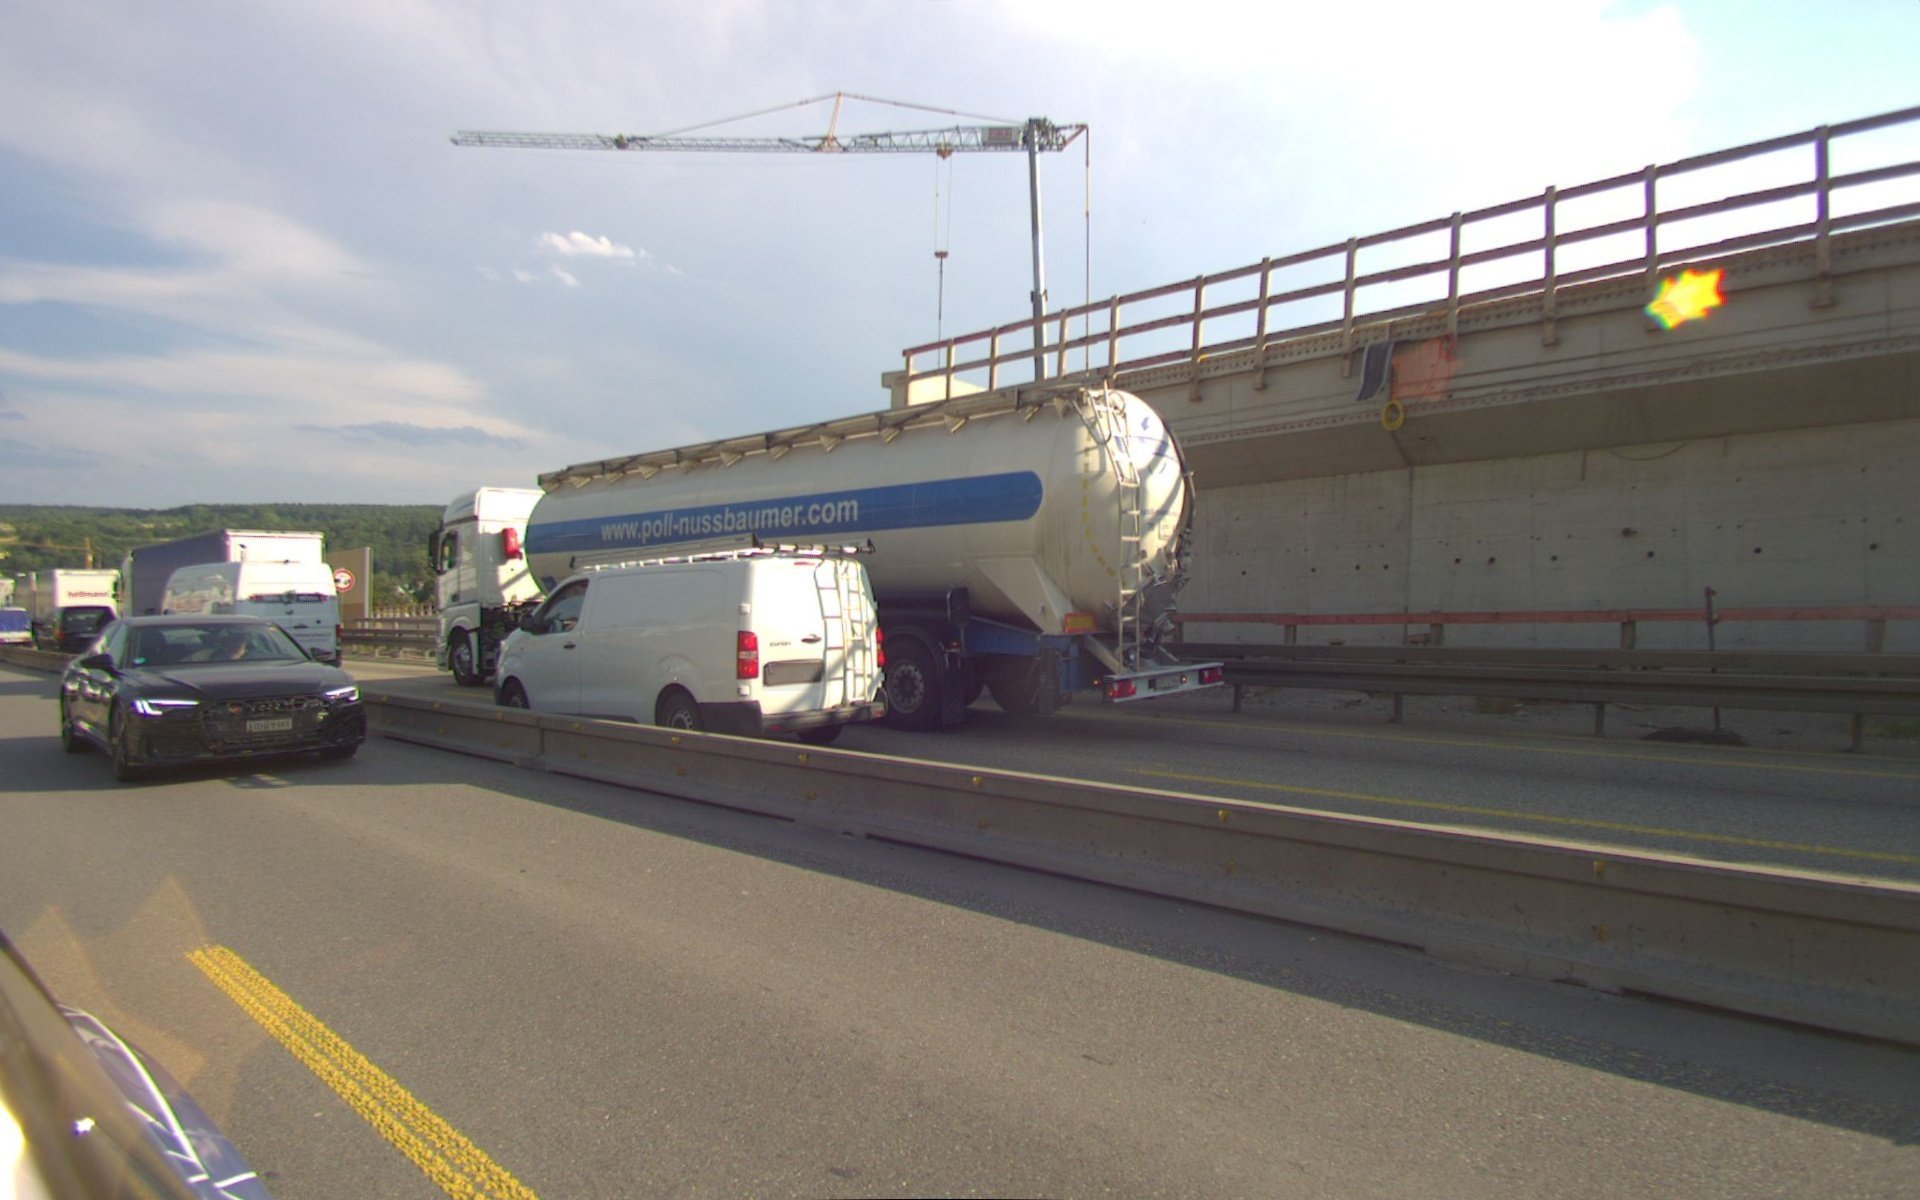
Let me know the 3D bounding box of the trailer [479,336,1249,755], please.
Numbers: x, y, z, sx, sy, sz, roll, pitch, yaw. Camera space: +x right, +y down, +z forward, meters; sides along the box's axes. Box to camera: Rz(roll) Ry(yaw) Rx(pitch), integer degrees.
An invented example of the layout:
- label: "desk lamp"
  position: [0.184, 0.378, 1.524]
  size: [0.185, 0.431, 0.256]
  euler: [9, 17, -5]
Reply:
- label: "trailer"
  position: [-2.705, -0.422, 14.784]
  size: [13.436, 3.879, 2.625]
  euler: [-1, 0, 41]

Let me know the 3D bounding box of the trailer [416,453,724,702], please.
- label: "trailer"
  position: [-7.445, -0.326, 18.902]
  size: [6.426, 3.879, 2.625]
  euler: [-1, 0, 41]

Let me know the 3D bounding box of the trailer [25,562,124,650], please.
- label: "trailer"
  position: [-47.012, 0.333, 53.622]
  size: [8.731, 4.315, 2.798]
  euler: [-1, 0, 41]

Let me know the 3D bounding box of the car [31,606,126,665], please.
- label: "car"
  position: [-30.076, 1.176, 34.480]
  size: [4.850, 1.857, 1.762]
  euler: [-1, 0, 41]

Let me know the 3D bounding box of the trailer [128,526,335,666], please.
- label: "trailer"
  position: [-25.652, -0.026, 35.120]
  size: [13.769, 4.067, 2.894]
  euler: [-1, 0, 42]

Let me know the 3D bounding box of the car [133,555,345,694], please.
- label: "car"
  position: [-16.098, 0.510, 22.357]
  size: [7.403, 2.642, 1.974]
  euler: [-1, 0, 40]

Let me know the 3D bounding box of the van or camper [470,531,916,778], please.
- label: "van or camper"
  position: [-3.052, 0.477, 10.733]
  size: [5.291, 2.029, 1.839]
  euler: [-1, 0, 40]

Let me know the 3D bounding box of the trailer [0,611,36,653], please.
- label: "trailer"
  position: [-43.610, 1.448, 46.465]
  size: [2.982, 1.868, 1.433]
  euler: [-1, 0, 41]

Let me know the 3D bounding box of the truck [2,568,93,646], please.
- label: "truck"
  position: [-54.082, 0.431, 59.852]
  size: [10.068, 4.295, 2.798]
  euler: [-1, 0, 41]

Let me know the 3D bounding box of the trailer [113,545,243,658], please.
- label: "trailer"
  position: [-30.603, 0.074, 39.541]
  size: [6.220, 4.067, 2.895]
  euler: [-1, 0, 42]

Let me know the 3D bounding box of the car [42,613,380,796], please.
- label: "car"
  position: [-7.657, 0.878, 10.177]
  size: [4.346, 1.430, 1.849]
  euler: [-1, -1, 41]

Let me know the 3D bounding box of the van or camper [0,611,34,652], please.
- label: "van or camper"
  position: [-46.597, 1.508, 49.134]
  size: [5.001, 1.906, 1.844]
  euler: [-1, 0, 41]
